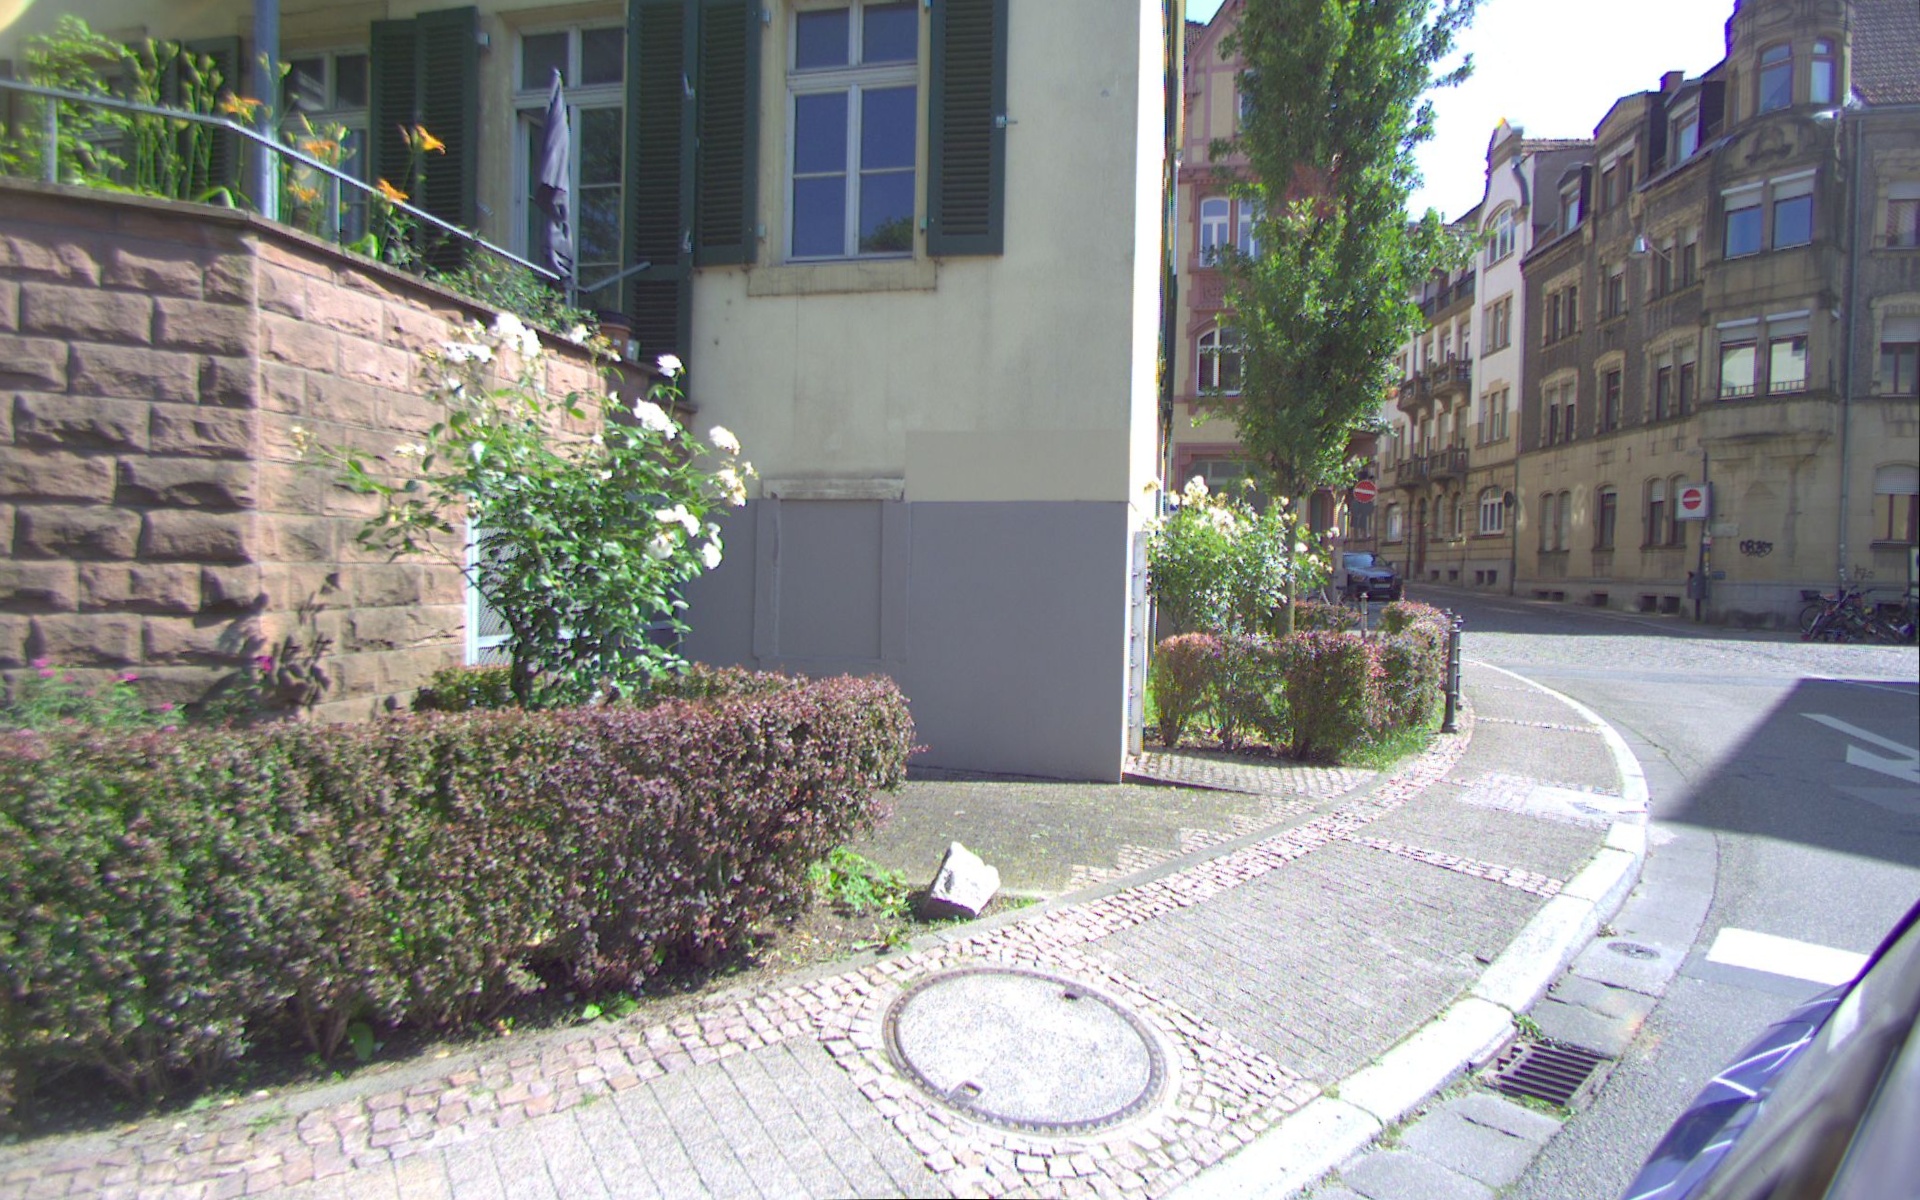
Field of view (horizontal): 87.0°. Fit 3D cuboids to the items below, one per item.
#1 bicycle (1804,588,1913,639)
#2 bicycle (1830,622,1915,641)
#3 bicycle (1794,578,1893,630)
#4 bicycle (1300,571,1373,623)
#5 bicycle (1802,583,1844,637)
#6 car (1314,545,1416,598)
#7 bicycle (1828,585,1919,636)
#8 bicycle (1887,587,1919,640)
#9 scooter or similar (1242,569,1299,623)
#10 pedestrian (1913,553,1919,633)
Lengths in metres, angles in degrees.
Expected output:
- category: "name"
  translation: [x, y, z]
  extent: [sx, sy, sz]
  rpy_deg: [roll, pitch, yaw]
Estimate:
- category: "bicycle"
  translation: [19.469, 0.274, 21.974]
  extent: [0.285, 1.080, 1.642]
  rpy_deg: [-42, 1, 3]
- category: "bicycle"
  translation: [19.441, 0.664, 21.588]
  extent: [1.068, 0.291, 1.114]
  rpy_deg: [2, 3, 27]
- category: "bicycle"
  translation: [20.640, 0.091, 23.661]
  extent: [1.617, 1.098, 0.495]
  rpy_deg: [2, 6, 13]
- category: "bicycle"
  translation: [8.997, -0.089, 24.254]
  extent: [0.495, 1.160, 1.798]
  rpy_deg: [1, 3, -23]
- category: "bicycle"
  translation: [18.855, 0.204, 22.135]
  extent: [0.283, 1.099, 1.628]
  rpy_deg: [-2, 1, 26]
- category: "car"
  translation: [13.599, -1.028, 34.277]
  extent: [1.828, 1.601, 4.261]
  rpy_deg: [-1, 4, 2]
- category: "bicycle"
  translation: [19.957, 0.214, 21.937]
  extent: [0.285, 1.080, 1.642]
  rpy_deg: [-42, 1, 3]
- category: "bicycle"
  translation: [20.404, 0.290, 21.121]
  extent: [0.280, 1.099, 1.646]
  rpy_deg: [3, -1, -15]
- category: "scooter or similar"
  translation: [7.308, -0.099, 23.847]
  extent: [1.168, 1.250, 0.442]
  rpy_deg: [1, 2, -1]
- category: "pedestrian"
  translation: [21.939, -0.136, 22.371]
  extent: [0.966, 1.778, 0.622]
  rpy_deg: [1, 5, 12]
